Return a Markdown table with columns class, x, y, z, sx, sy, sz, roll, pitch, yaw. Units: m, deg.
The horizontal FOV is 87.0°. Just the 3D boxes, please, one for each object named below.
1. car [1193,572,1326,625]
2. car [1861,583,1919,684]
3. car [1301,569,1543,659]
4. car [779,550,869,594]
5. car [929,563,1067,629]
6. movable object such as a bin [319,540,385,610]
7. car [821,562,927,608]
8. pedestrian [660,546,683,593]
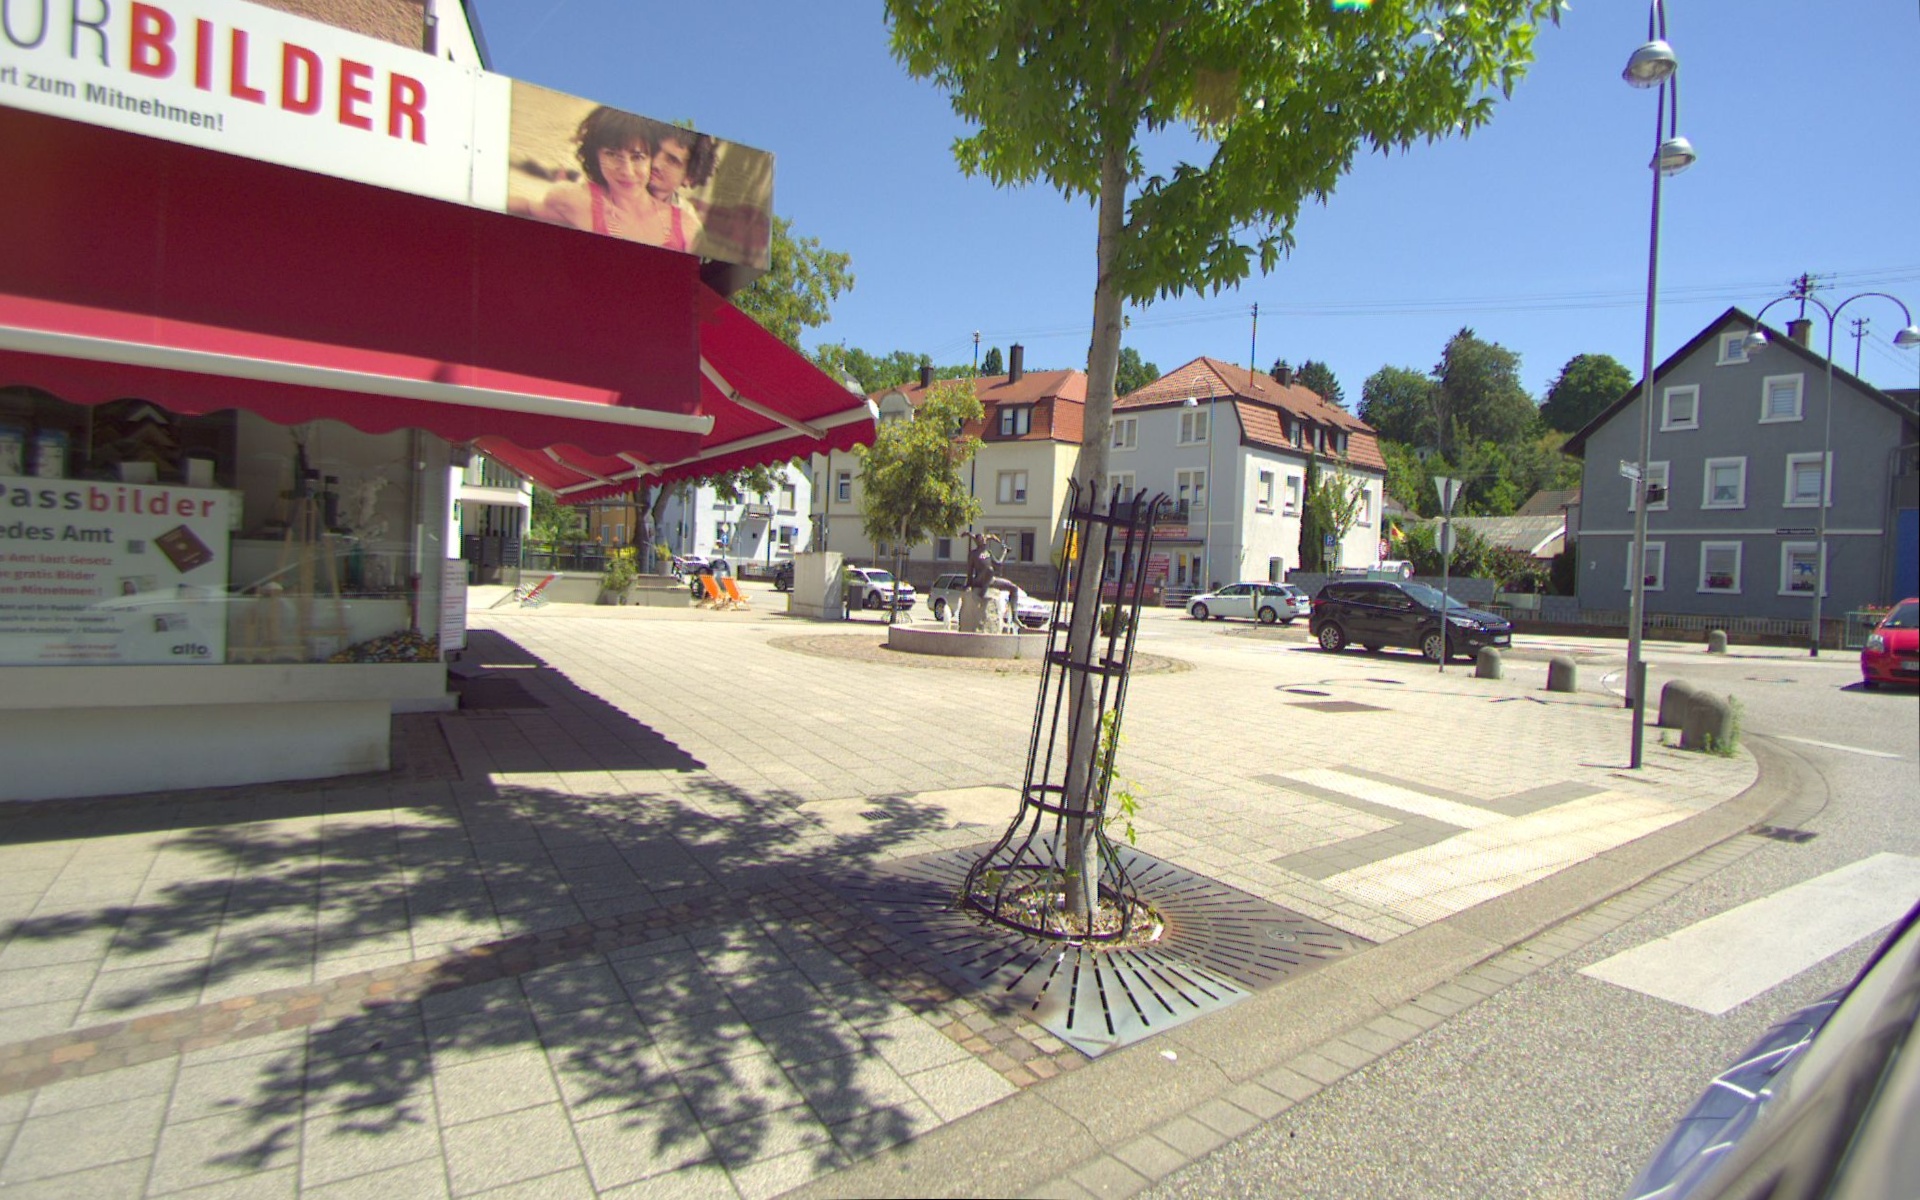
| class | x | y | z | sx | sy | sz | roll | pitch | yaw |
| --- | --- | --- | --- | --- | --- | --- | --- | --- | --- |
| car | 10.859 | -0.113 | 36.866 | 4.272 | 1.603 | 1.971 | 4 | 6 | 43 |
| car | 16.504 | 0.573 | 16.602 | 3.925 | 1.553 | 1.833 | 2 | -2 | -37 |
| car | 10.160 | 0.230 | 22.603 | 1.961 | 1.709 | 4.530 | 0 | 2 | -33 |
| car | -6.962 | -1.438 | 51.691 | 4.262 | 1.887 | 1.974 | 6 | 2 | 35 |
| car | 1.034 | -0.137 | 29.294 | 1.768 | 1.609 | 3.999 | 4 | 1 | -37 |
| movable object such as a bin | -10.882 | -0.457 | 18.138 | 0.757 | 1.169 | 0.763 | 5 | 1 | -15 |
| car | -3.428 | -0.621 | 39.881 | 3.981 | 1.593 | 1.811 | 4 | 3 | 39 |
| pedestrian | -10.655 | -1.123 | 37.384 | 0.647 | 1.648 | 0.401 | 6 | 1 | 34 |
